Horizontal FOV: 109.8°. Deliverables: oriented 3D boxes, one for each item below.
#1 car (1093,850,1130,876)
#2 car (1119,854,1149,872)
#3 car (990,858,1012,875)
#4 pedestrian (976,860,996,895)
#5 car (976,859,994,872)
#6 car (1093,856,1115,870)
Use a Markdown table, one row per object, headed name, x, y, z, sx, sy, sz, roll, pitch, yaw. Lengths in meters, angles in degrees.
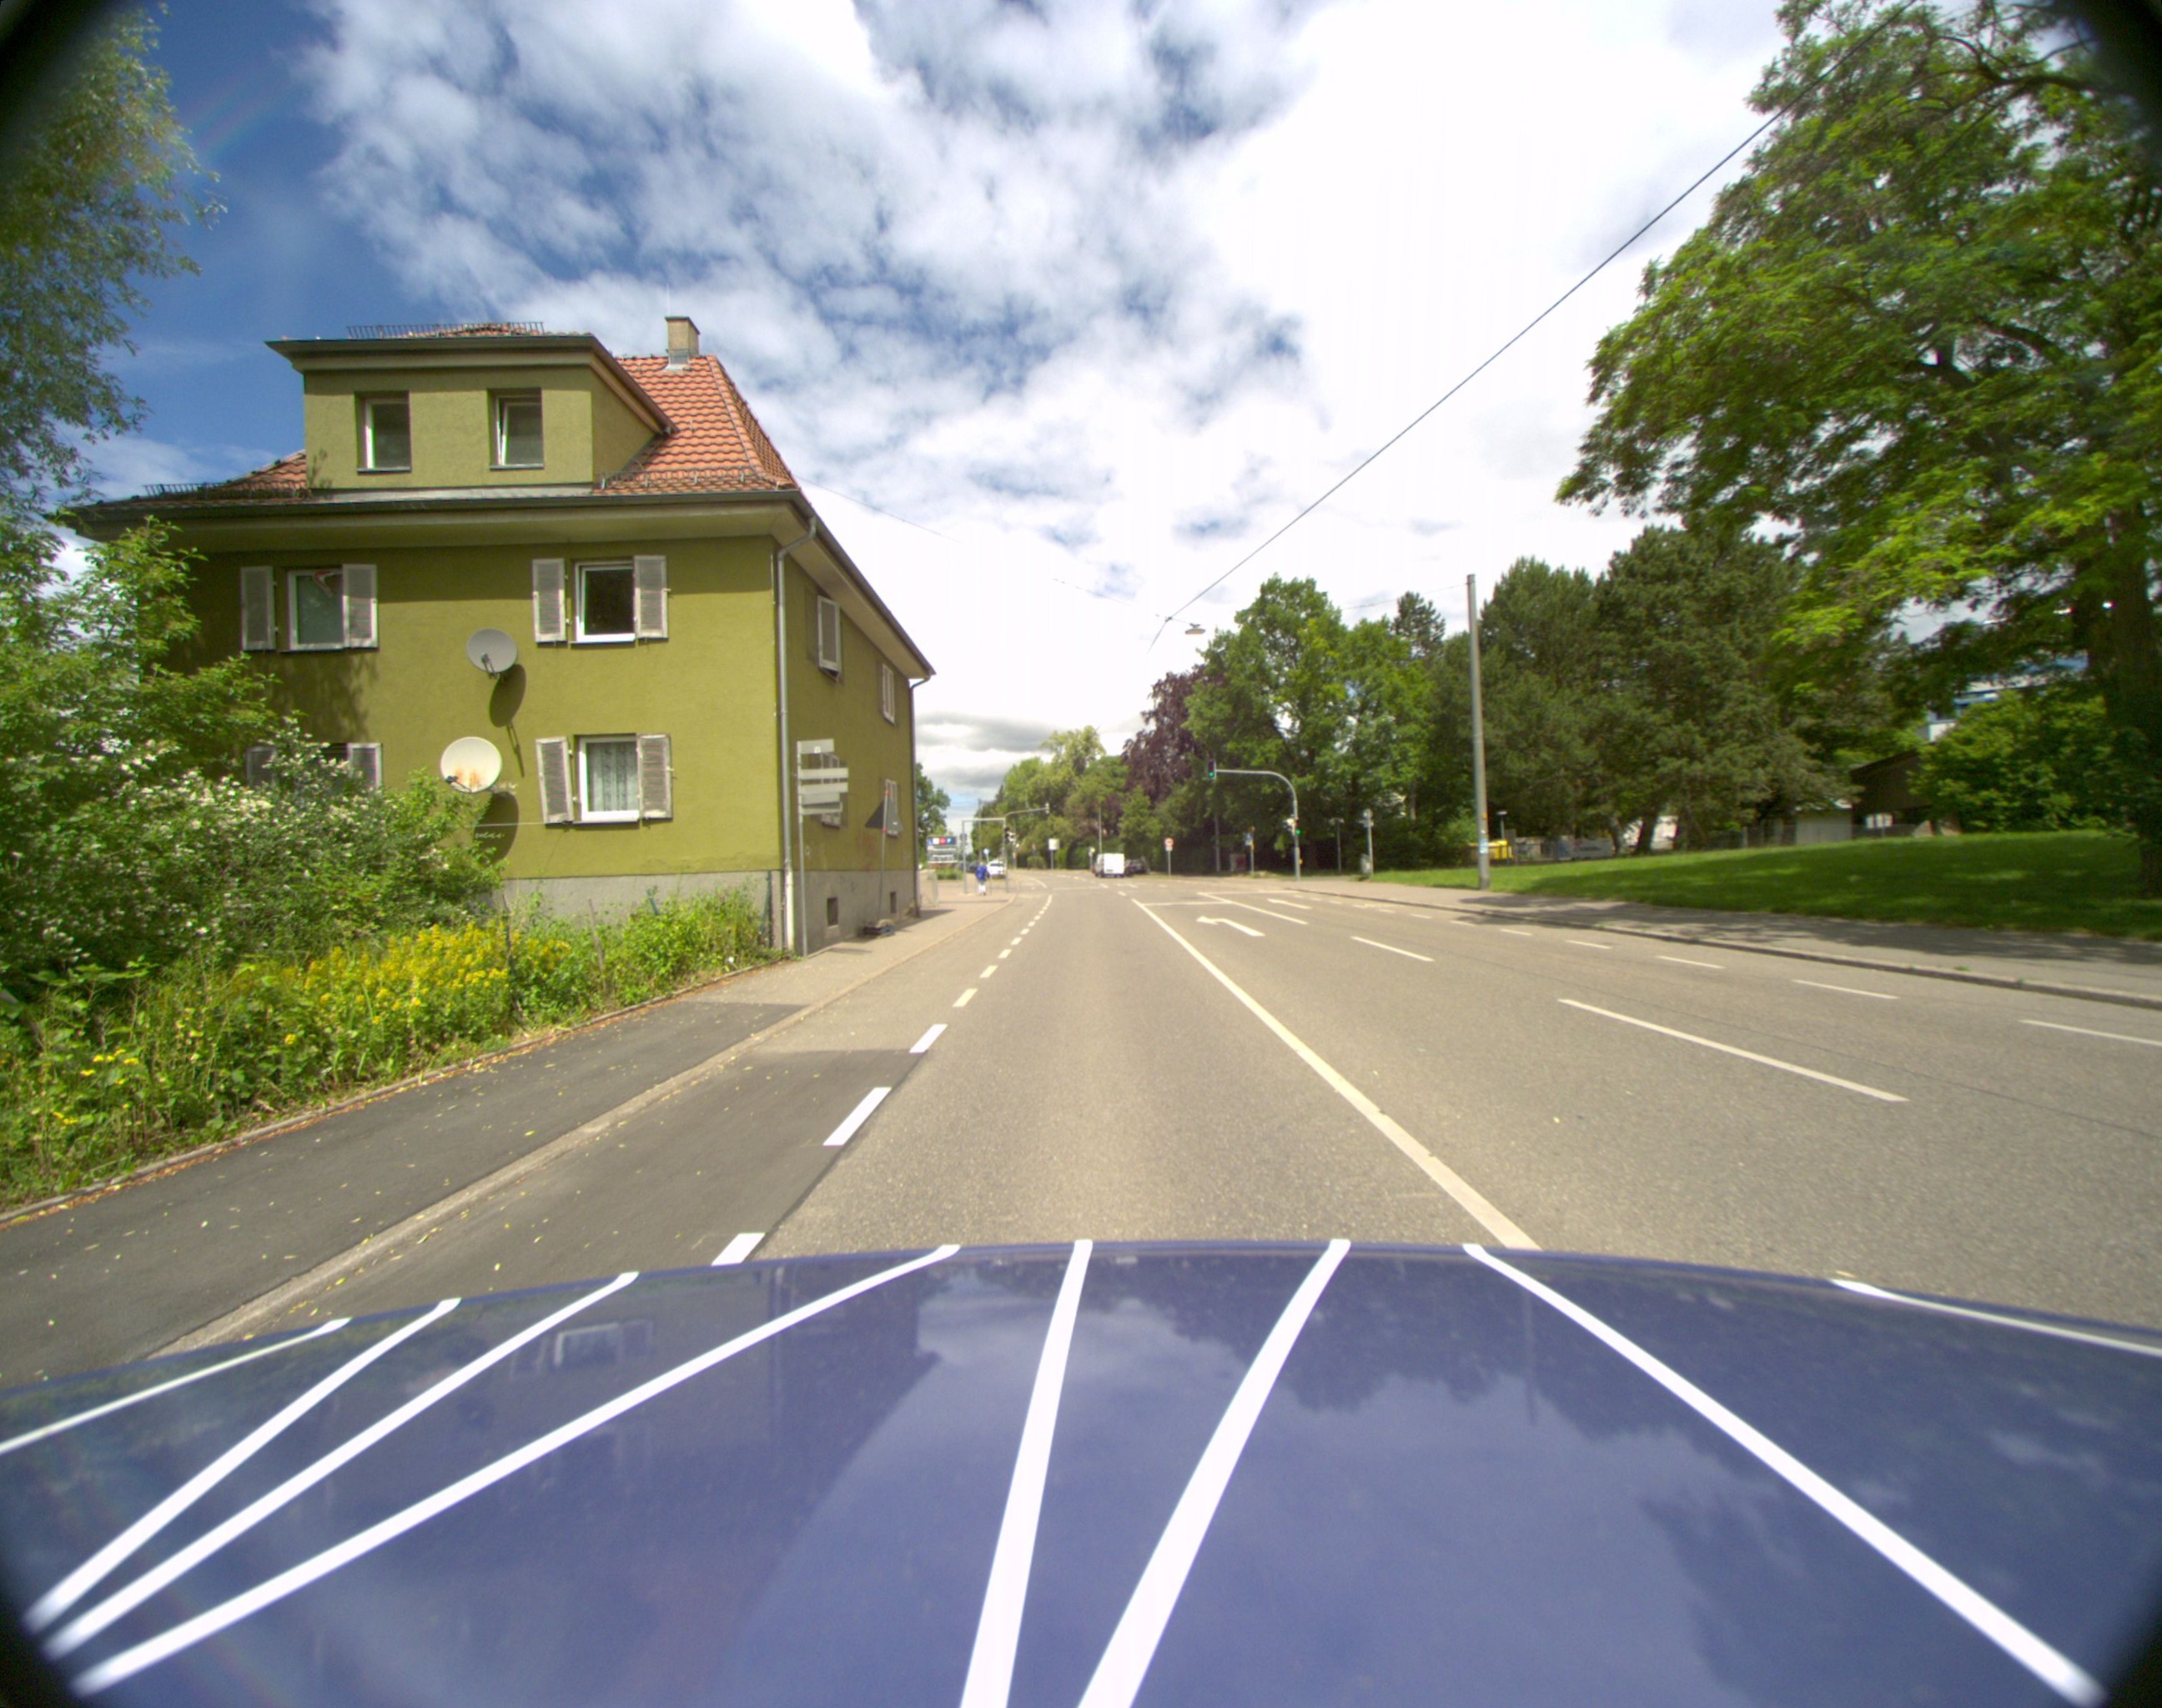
| name | x | y | z | sx | sy | sz | roll | pitch | yaw |
| --- | --- | --- | --- | --- | --- | --- | --- | --- | --- |
| car | 2.487 | 0.719 | 63.101 | 2.000 | 2.011 | 5.346 | -1 | 0 | -10 |
| car | 4.712 | 0.767 | 67.717 | 1.688 | 1.407 | 4.398 | -3 | 1 | -9 |
| car | -7.249 | 1.113 | 68.831 | 1.796 | 1.522 | 3.918 | 1 | 0 | -9 |
| pedestrian | -4.380 | 1.082 | 34.990 | 0.826 | 1.563 | 0.987 | -1 | 1 | -4 |
| car | -12.241 | 1.419 | 97.028 | 1.707 | 1.522 | 3.995 | -3 | 0 | -15 |
| car | 2.459 | 0.996 | 81.932 | 1.531 | 1.358 | 3.371 | -3 | 1 | -12 |
